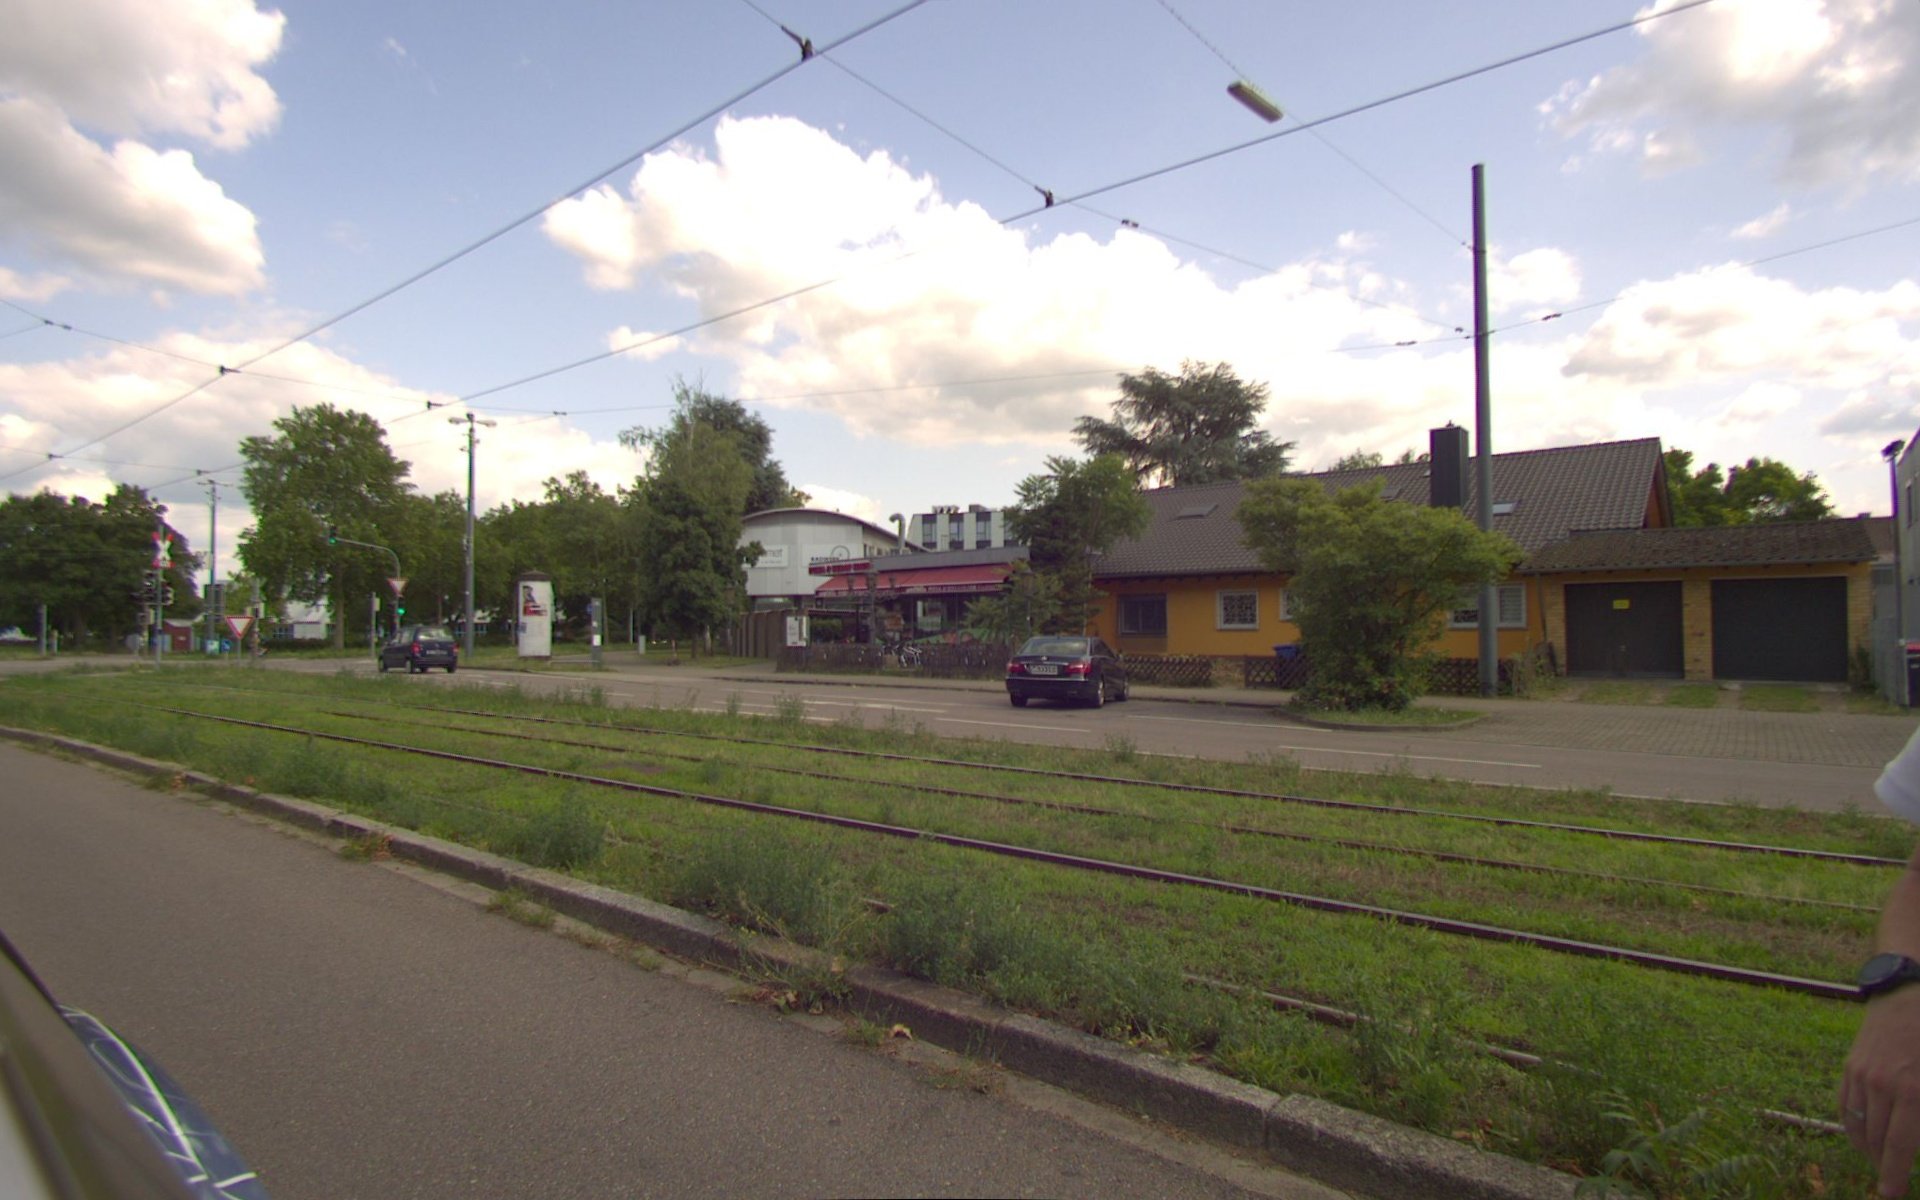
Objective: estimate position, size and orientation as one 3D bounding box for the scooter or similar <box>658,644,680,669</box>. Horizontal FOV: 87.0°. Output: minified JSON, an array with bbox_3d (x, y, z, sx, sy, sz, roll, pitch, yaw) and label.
[{"bbox_3d":[-12.189,2.357,42.346,0.421,1.041,1.225,1,-3,-40],"label":"scooter or similar"}]

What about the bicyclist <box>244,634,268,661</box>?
[{"bbox_3d":[-39.993,2.678,57.494,0.823,1.481,0.802,-3,-2,9],"label":"bicyclist"}]

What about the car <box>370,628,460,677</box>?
[{"bbox_3d":[-19.438,1.820,36.050,3.495,1.639,1.759,-1,-2,42],"label":"car"}]

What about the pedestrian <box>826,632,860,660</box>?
[{"bbox_3d":[-5.022,1.976,43.545,0.931,1.155,1.141,-2,-3,41],"label":"pedestrian"}]

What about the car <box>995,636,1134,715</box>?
[{"bbox_3d":[2.312,1.492,21.192,1.869,1.418,4.620,0,-2,20],"label":"car"}]

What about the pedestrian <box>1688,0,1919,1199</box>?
[{"bbox_3d":[1.092,0.380,0.601,0.837,1.699,0.808,0,-2,-35],"label":"pedestrian"}]

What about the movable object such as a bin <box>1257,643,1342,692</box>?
[{"bbox_3d":[8.158,1.604,24.325,1.616,1.109,1.242,-2,-3,39],"label":"movable object such as a bin"}]

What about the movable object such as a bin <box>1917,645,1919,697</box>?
[{"bbox_3d":[17.328,1.333,17.915,0.481,1.050,0.499,-3,-2,40],"label":"movable object such as a bin"}]

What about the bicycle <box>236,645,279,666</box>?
[{"bbox_3d":[-39.884,3.144,57.461,2.046,1.068,0.802,-3,-2,10],"label":"bicycle"}]

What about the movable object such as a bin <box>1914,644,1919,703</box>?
[{"bbox_3d":[17.682,1.328,18.342,0.479,1.050,0.488,-3,-2,40],"label":"movable object such as a bin"}]
